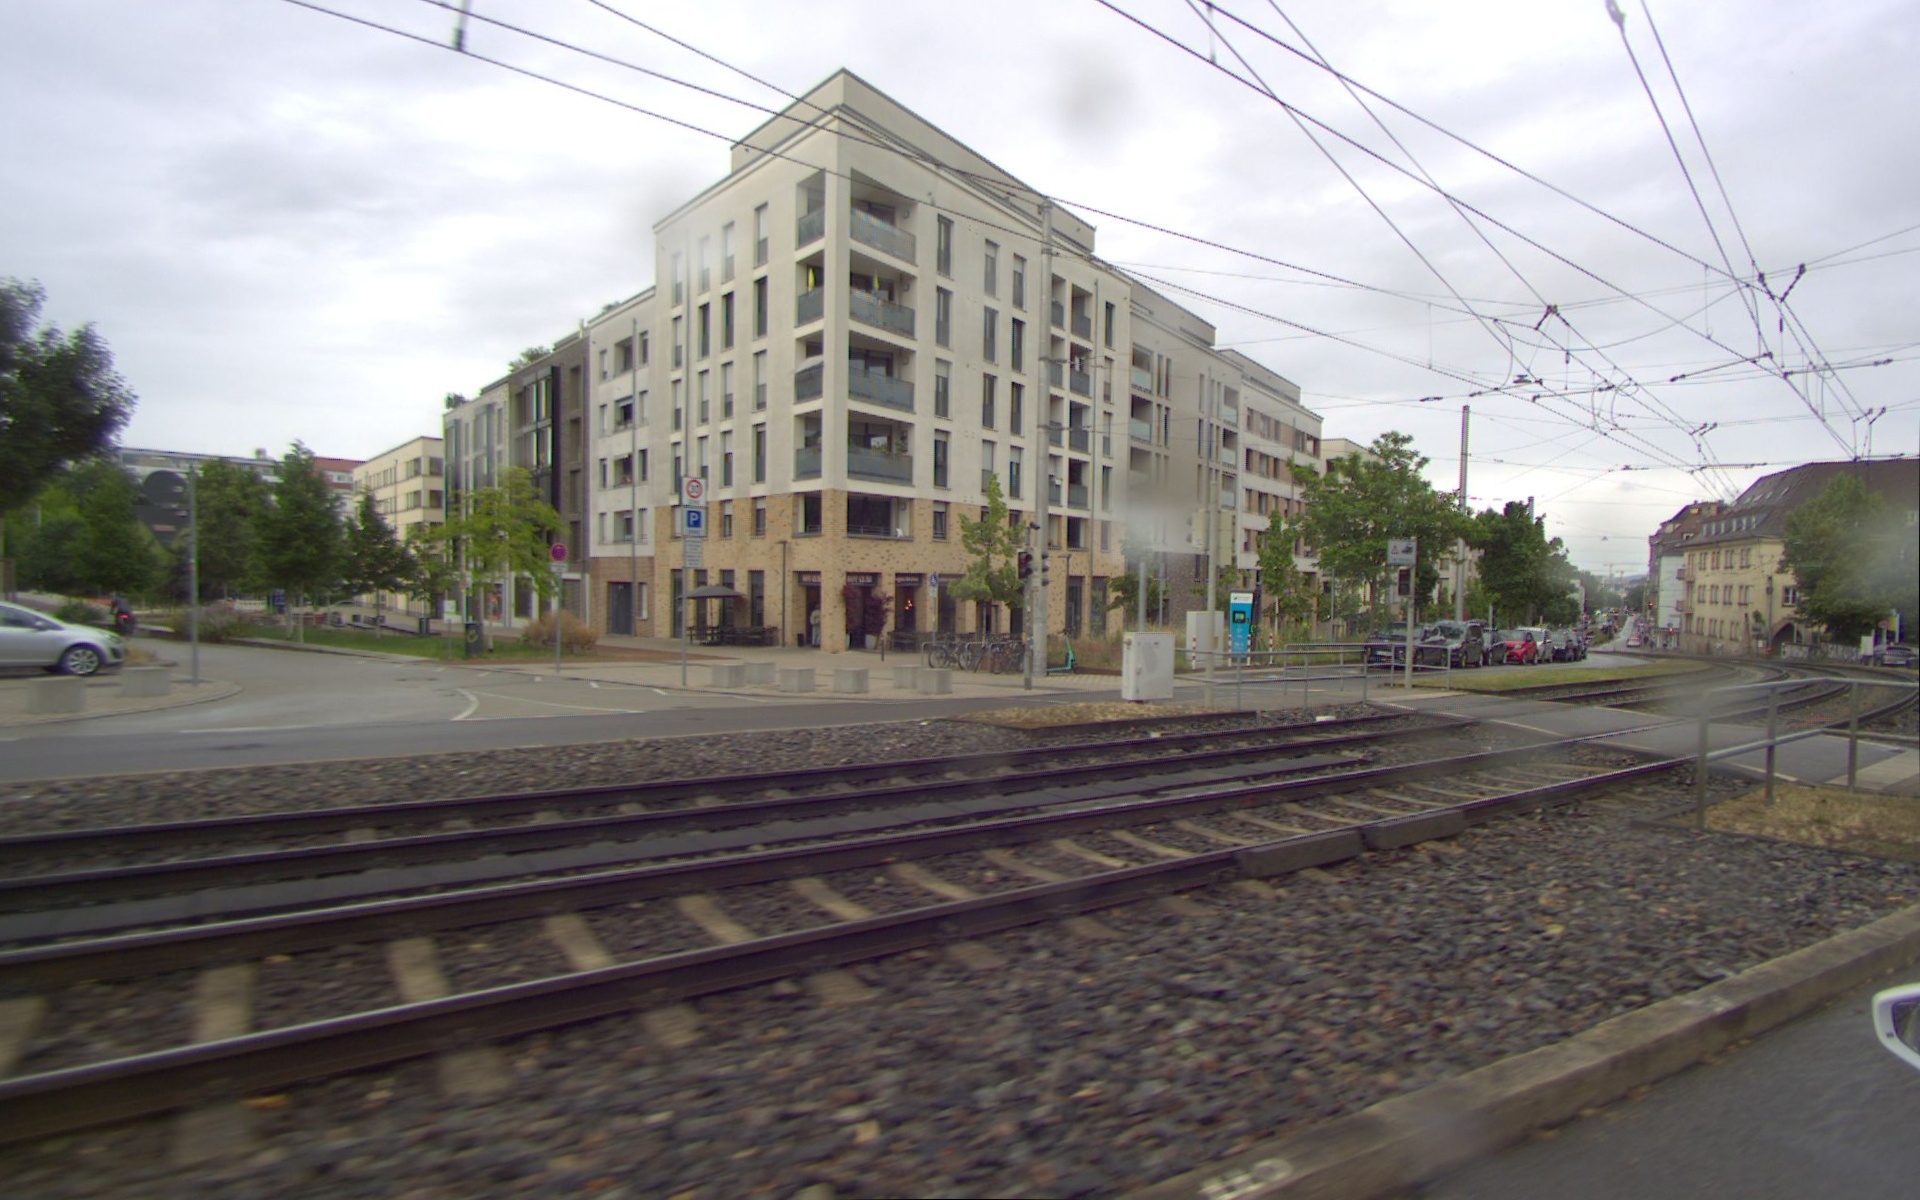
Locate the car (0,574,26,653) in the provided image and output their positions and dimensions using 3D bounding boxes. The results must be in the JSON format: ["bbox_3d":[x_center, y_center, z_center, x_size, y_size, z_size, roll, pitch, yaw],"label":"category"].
[{"bbox_3d":[-26.671,0.302,25.554,1.910,2.040,3.985,1,-1,37],"label":"car"}]

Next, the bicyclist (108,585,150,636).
[{"bbox_3d":[-30.257,0.372,36.583,0.773,1.828,0.901,1,0,21],"label":"bicyclist"}]

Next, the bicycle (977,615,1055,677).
[{"bbox_3d":[1.559,1.272,27.557,2.344,1.617,0.669,3,-1,-43],"label":"bicycle"}]

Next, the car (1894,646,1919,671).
[{"bbox_3d":[58.668,3.550,60.952,1.639,1.496,4.106,0,-2,24],"label":"car"}]

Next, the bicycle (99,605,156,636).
[{"bbox_3d":[-30.422,0.750,36.703,1.973,1.042,0.735,1,-1,22],"label":"bicycle"}]

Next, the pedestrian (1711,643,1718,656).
[{"bbox_3d":[81.611,5.349,108.683,0.496,1.333,0.511,2,-1,24],"label":"pedestrian"}]

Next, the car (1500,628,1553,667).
[{"bbox_3d":[28.050,2.367,49.697,1.642,1.770,4.240,2,-1,38],"label":"car"}]

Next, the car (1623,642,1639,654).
[{"bbox_3d":[104.143,7.466,155.834,1.967,1.795,3.988,2,-1,35],"label":"car"}]

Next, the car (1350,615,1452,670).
[{"bbox_3d":[15.191,1.457,34.489,1.971,1.626,4.194,5,1,41],"label":"car"}]

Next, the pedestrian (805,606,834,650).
[{"bbox_3d":[-5.394,1.079,38.603,0.891,1.673,0.837,1,-2,-22],"label":"pedestrian"}]

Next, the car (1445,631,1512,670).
[{"bbox_3d":[22.043,2.134,42.615,1.532,1.466,4.378,3,0,41],"label":"car"}]

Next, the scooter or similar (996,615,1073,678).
[{"bbox_3d":[2.033,1.250,27.005,2.344,1.617,0.594,3,-1,-43],"label":"scooter or similar"}]

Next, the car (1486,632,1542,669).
[{"bbox_3d":[25.261,2.292,45.769,1.454,1.551,2.913,4,0,44],"label":"car"}]

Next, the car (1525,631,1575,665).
[{"bbox_3d":[31.818,2.606,54.090,1.710,1.666,4.514,2,-1,38],"label":"car"}]

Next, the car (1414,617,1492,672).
[{"bbox_3d":[18.919,1.718,38.465,1.563,1.884,4.312,4,0,40],"label":"car"}]

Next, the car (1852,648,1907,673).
[{"bbox_3d":[60.843,3.997,66.514,1.640,1.544,4.104,0,-2,27],"label":"car"}]

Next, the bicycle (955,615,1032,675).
[{"bbox_3d":[0.968,1.256,28.221,2.344,1.617,0.669,3,-1,-43],"label":"bicycle"}]

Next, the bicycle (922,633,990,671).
[{"bbox_3d":[-0.112,1.541,29.813,2.211,1.061,0.471,2,-1,-40],"label":"bicycle"}]

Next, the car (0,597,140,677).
[{"bbox_3d":[-18.065,0.671,18.786,1.574,1.439,3.905,2,-1,34],"label":"car"}]
